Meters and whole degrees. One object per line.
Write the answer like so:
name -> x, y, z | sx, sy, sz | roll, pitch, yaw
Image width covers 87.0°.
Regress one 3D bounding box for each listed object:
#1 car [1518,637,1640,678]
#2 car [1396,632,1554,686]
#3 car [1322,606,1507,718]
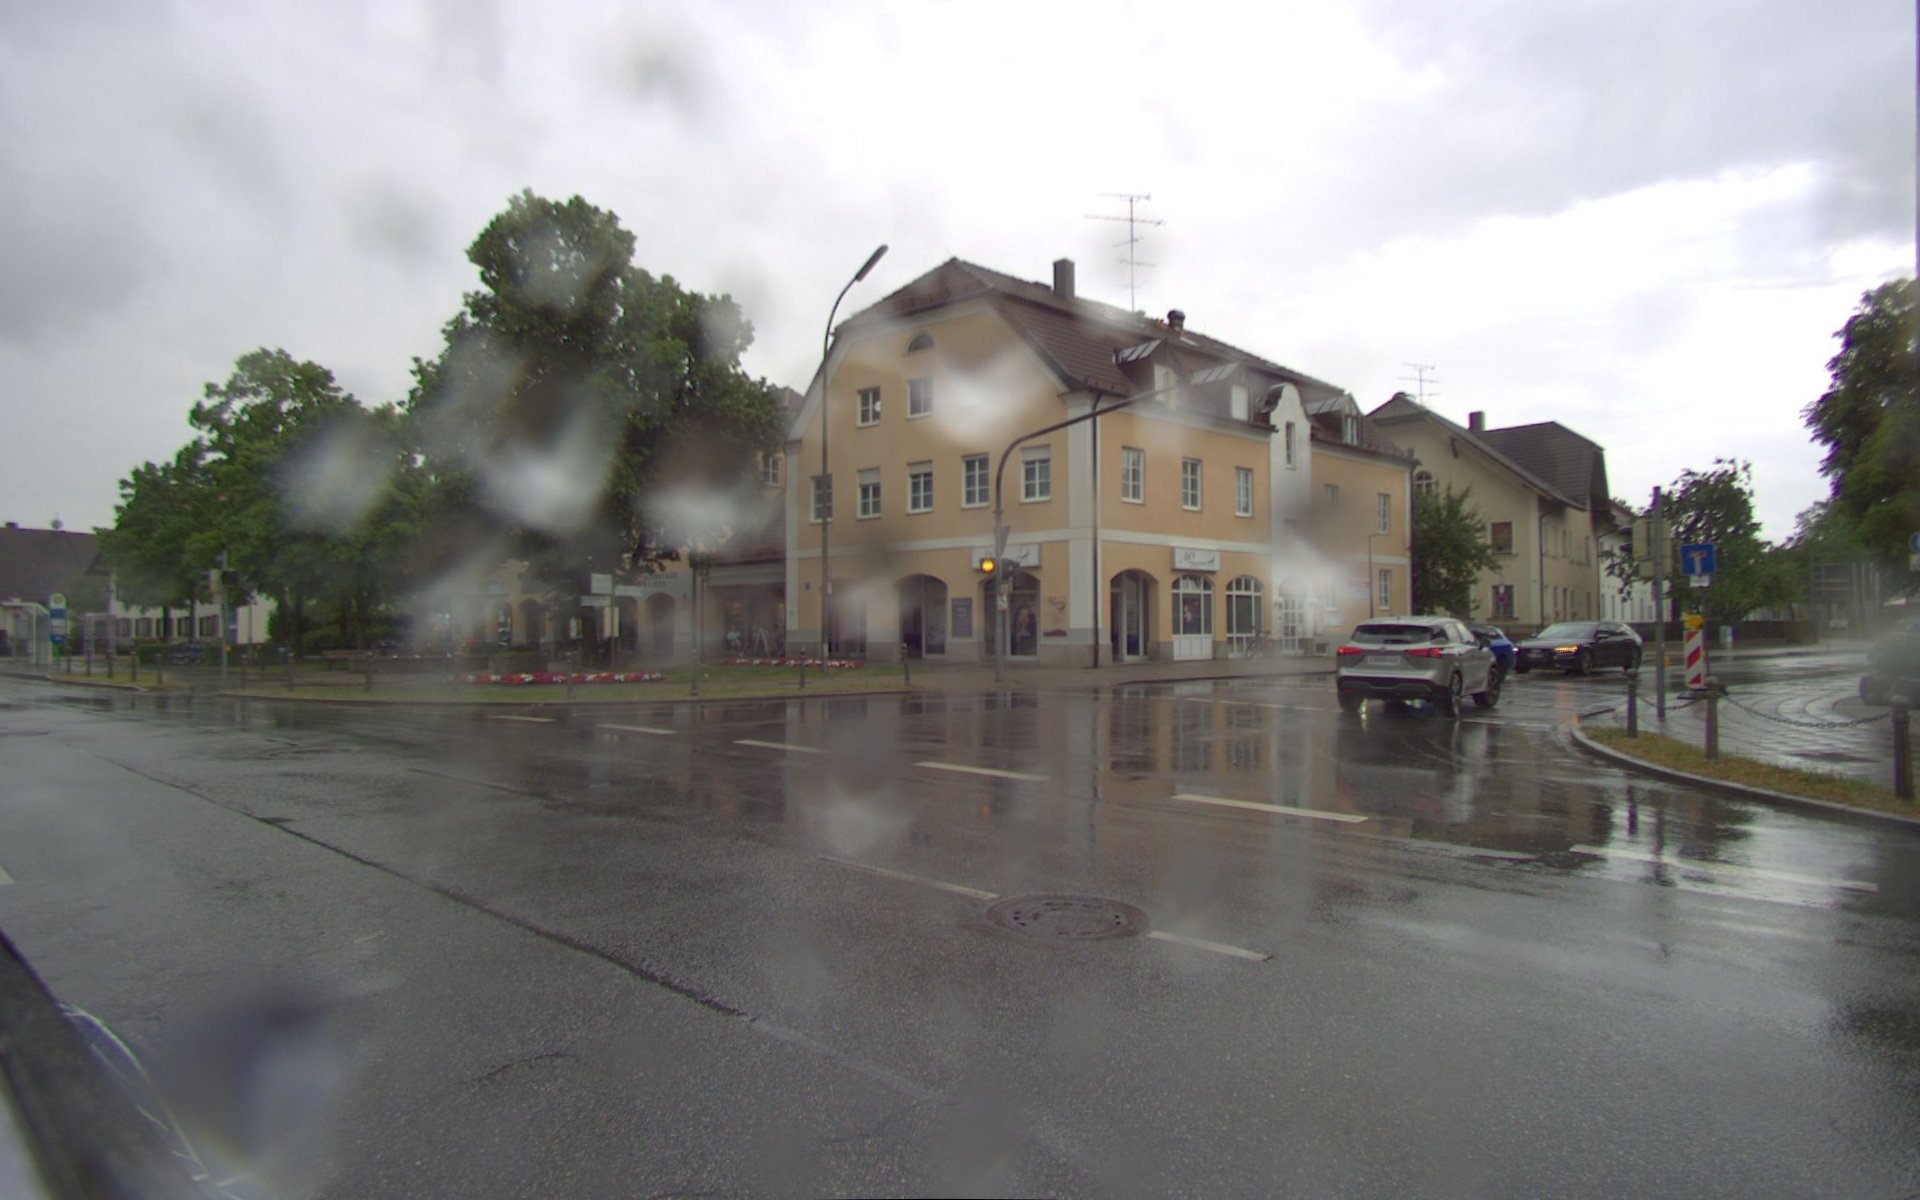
car -> 17.287, 1.565, 28.195 | 4.006, 1.025, 1.427 | 1, -2, -35
car -> 12.911, 1.425, 25.297 | 4.288, 1.194, 1.693 | 1, -2, -35
car -> 8.052, 1.026, 17.697 | 2.085, 1.686, 4.332 | -1, -3, 37
